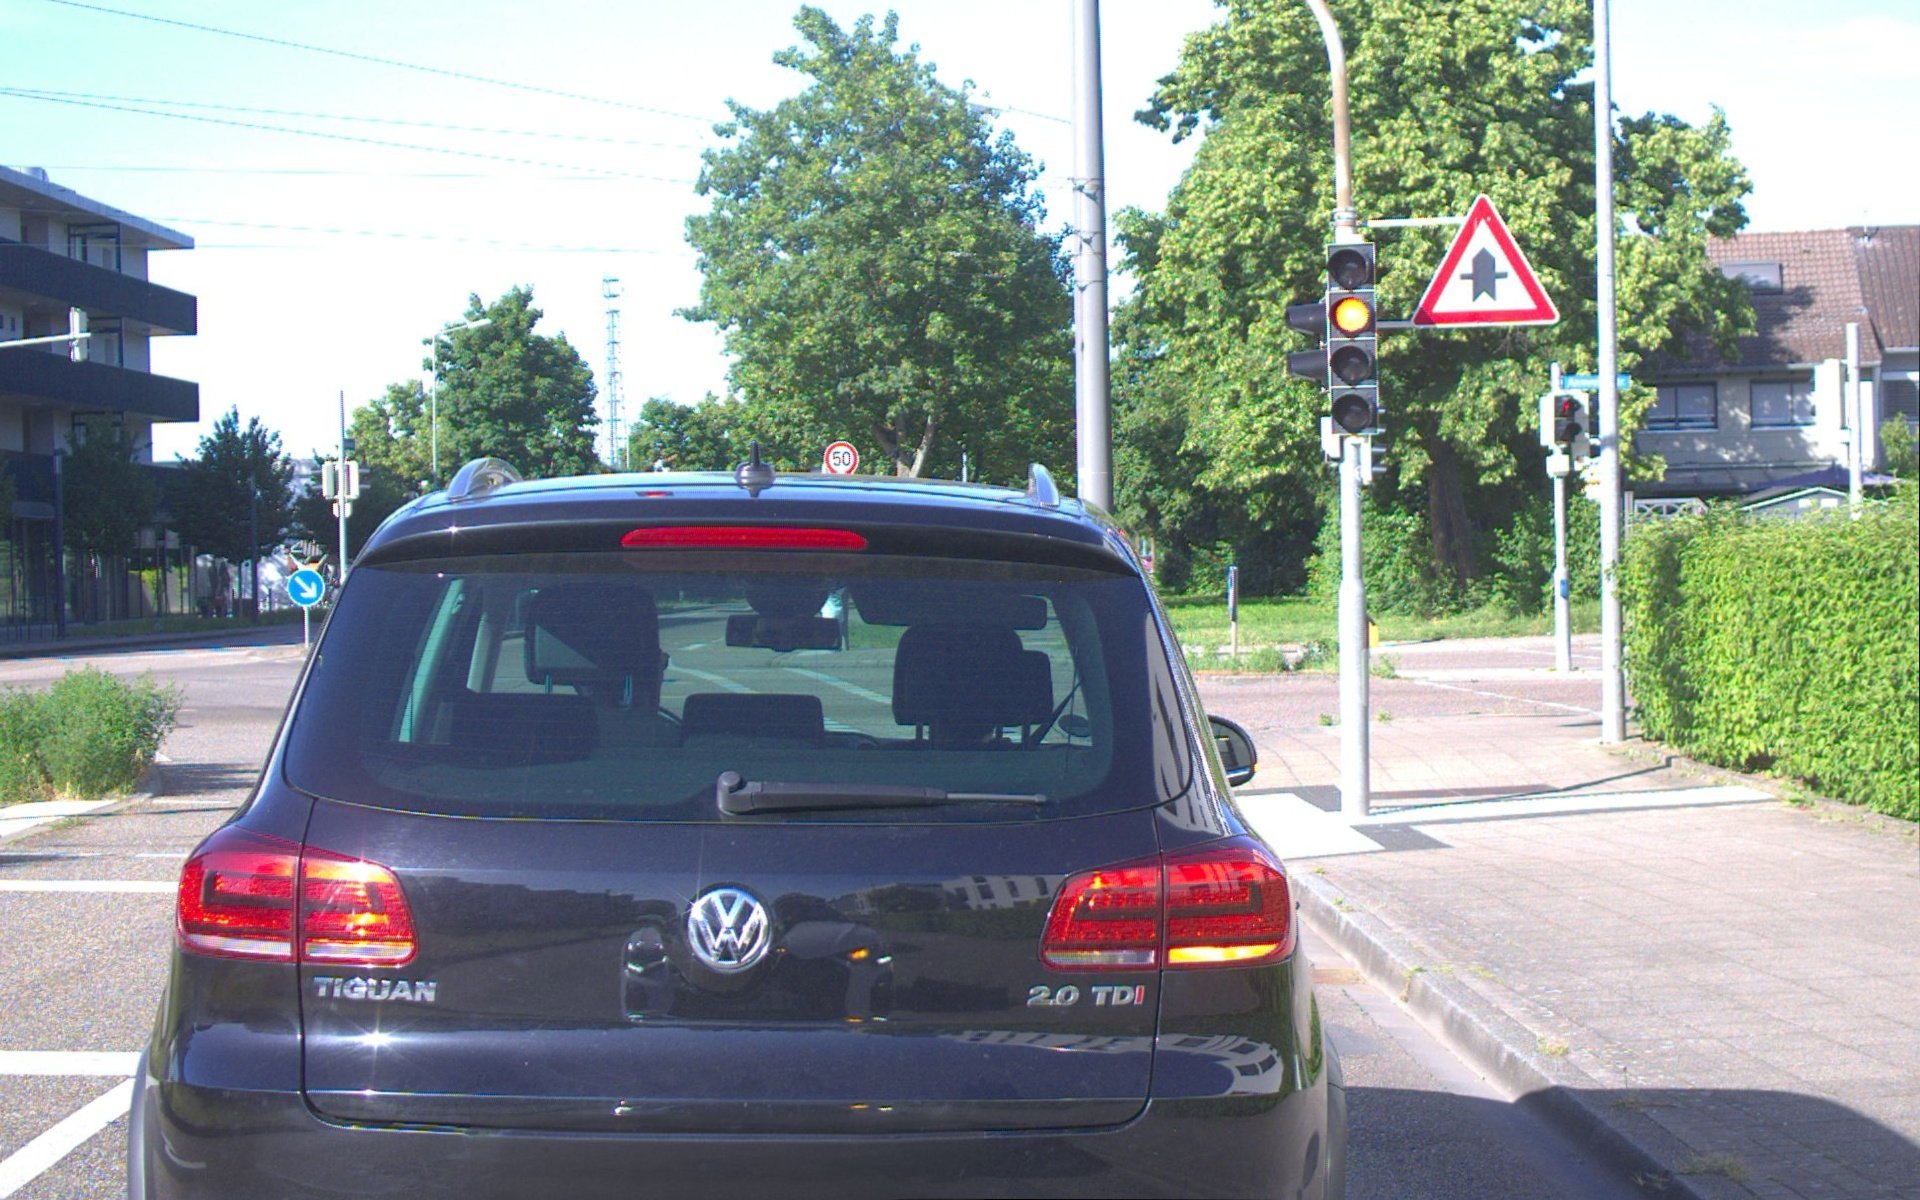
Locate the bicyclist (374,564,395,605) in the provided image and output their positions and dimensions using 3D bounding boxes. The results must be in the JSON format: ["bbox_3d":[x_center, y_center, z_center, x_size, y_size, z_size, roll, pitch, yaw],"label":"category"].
[{"bbox_3d":[-17.268,-0.468,103.161,0.474,1.219,0.712,0,1,3],"label":"bicyclist"}]

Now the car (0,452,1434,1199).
[{"bbox_3d":[-0.398,0.595,6.514,1.905,1.637,4.000,0,1,-2],"label":"car"}]

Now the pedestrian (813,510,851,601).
[{"bbox_3d":[-2.197,-0.772,59.104,0.603,1.559,0.529,0,1,4],"label":"pedestrian"}]

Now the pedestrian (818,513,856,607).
[{"bbox_3d":[-2.135,-0.697,59.715,0.603,1.634,0.529,0,1,4],"label":"pedestrian"}]

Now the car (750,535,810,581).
[{"bbox_3d":[-5.506,-1.288,105.621,1.751,1.382,4.000,0,1,-2],"label":"car"}]

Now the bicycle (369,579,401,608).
[{"bbox_3d":[-17.266,-0.210,103.303,0.496,0.845,2.078,0,1,3],"label":"bicycle"}]
